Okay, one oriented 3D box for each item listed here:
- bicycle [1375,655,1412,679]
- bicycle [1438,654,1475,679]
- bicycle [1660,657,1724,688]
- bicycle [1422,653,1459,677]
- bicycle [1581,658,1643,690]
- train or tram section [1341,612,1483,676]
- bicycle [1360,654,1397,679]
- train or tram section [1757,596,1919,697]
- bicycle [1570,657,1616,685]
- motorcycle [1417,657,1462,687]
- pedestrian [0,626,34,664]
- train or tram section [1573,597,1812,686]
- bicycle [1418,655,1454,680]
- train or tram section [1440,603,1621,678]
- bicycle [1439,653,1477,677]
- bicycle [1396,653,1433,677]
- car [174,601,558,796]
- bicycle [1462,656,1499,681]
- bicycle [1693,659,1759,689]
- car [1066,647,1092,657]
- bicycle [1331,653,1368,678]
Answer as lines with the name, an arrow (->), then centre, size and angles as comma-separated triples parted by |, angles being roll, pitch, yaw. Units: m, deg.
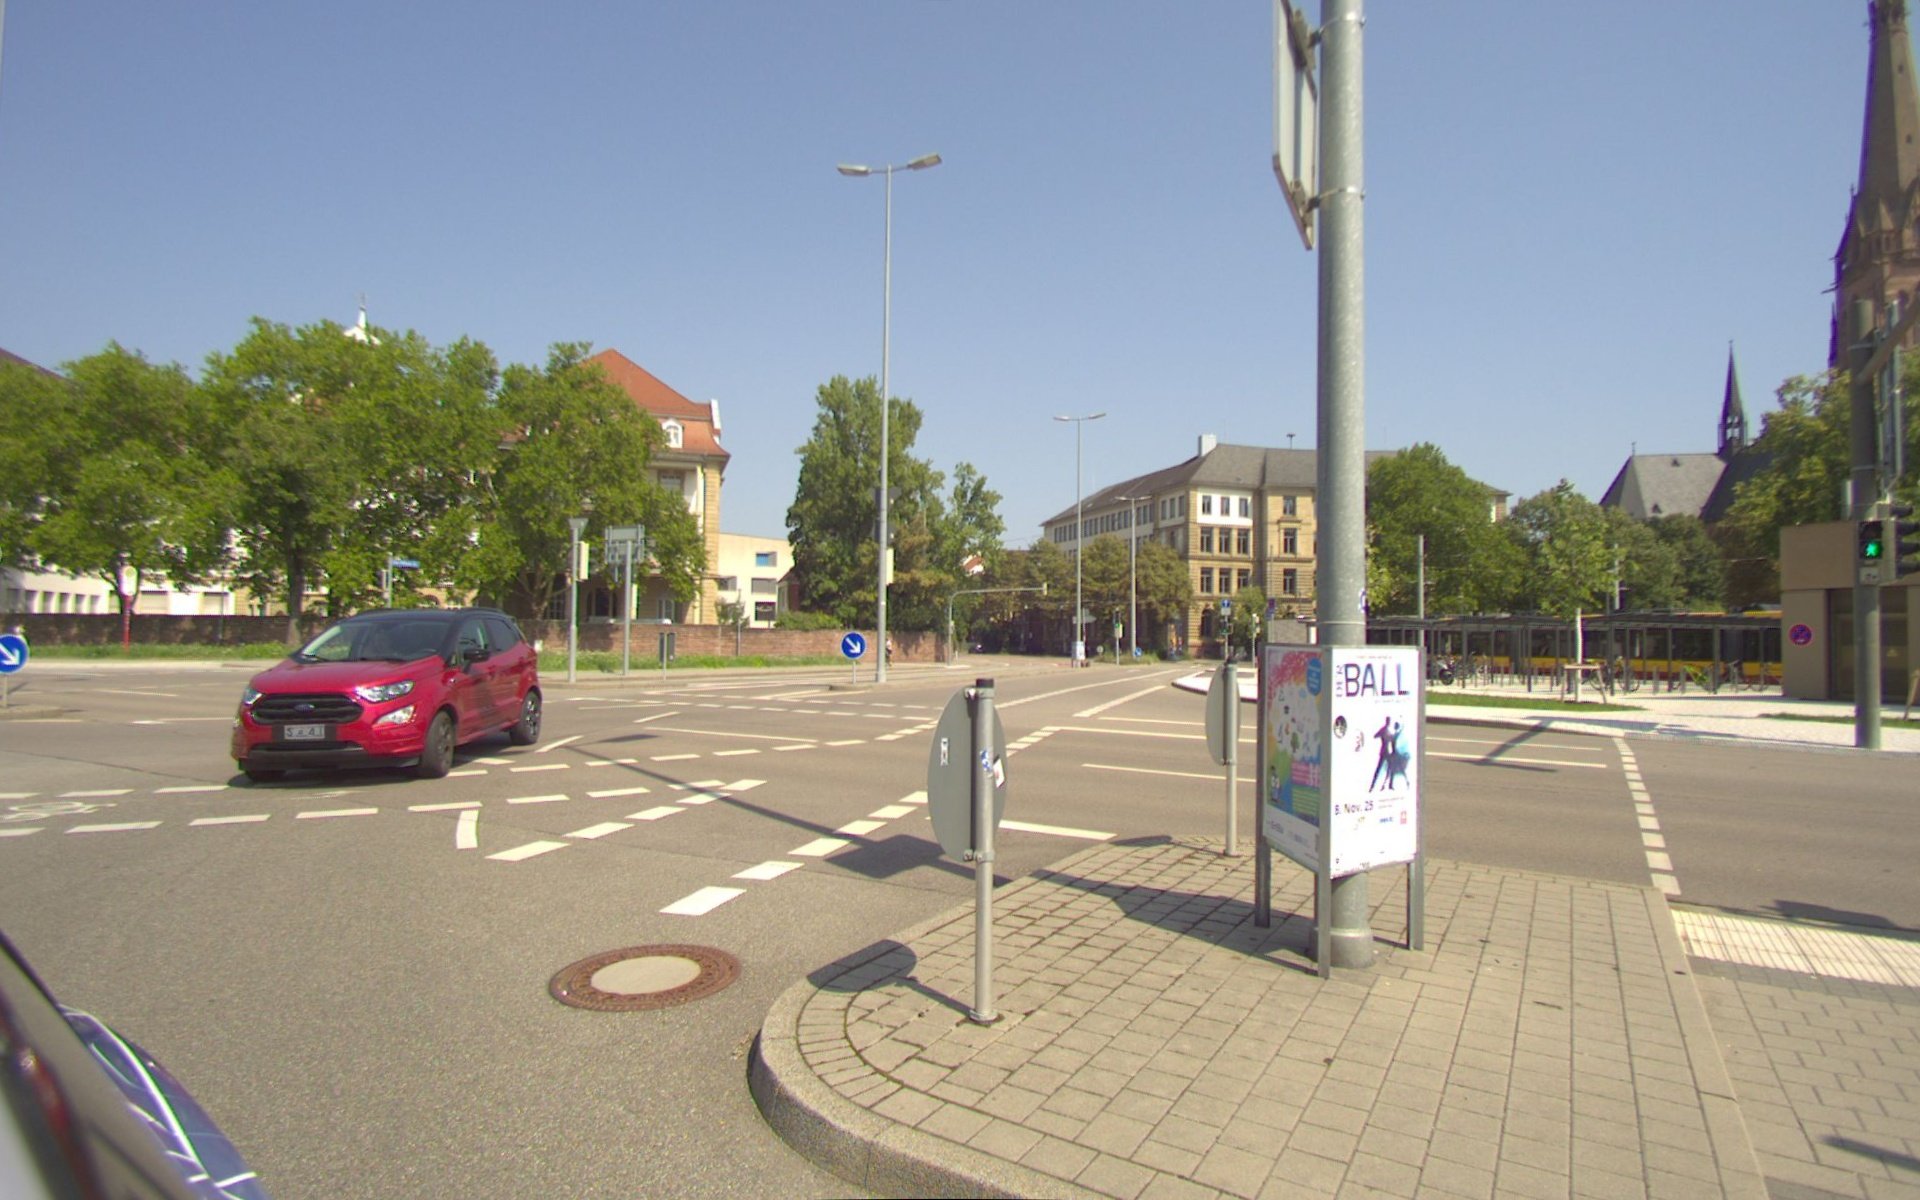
bicycle -> 19.454, 2.992, 45.437 | 0.518, 1.048, 1.775 | 2, -3, -16
bicycle -> 21.502, 2.891, 43.846 | 0.406, 1.048, 1.645 | 2, -3, -16
bicycle -> 25.511, 2.511, 35.316 | 0.504, 1.048, 1.740 | 3, -4, -31
bicycle -> 22.094, 2.977, 46.566 | 0.518, 1.048, 1.775 | 2, -3, -16
bicycle -> 22.236, 2.524, 34.554 | 0.504, 1.048, 1.740 | 2, -3, -25
train or tram section -> 27.612, 2.775, 62.374 | 3.084, 3.588, 8.353 | 3, -4, -19
bicycle -> 18.712, 2.962, 45.257 | 0.518, 1.048, 1.775 | 2, -3, -16
train or tram section -> 35.749, 1.814, 38.345 | 3.107, 3.625, 8.271 | 3, -4, -19
bicycle -> 24.602, 2.747, 39.381 | 0.406, 1.048, 1.645 | 2, -3, -16
motorcycle -> 18.413, 2.762, 38.906 | 0.483, 1.077, 1.784 | 2, -3, -16
pedestrian -> -50.761, 2.401, 54.196 | 1.216, 2.029, 1.073 | 1, -3, -3
train or tram section -> 33.059, 1.982, 46.292 | 3.107, 3.625, 8.552 | 3, -4, -19
bicycle -> 20.492, 2.887, 43.596 | 0.406, 1.048, 1.645 | 2, -3, -16
train or tram section -> 30.325, 2.261, 54.382 | 3.107, 3.625, 8.552 | 3, -4, -19
bicycle -> 23.142, 3.016, 47.024 | 0.518, 1.048, 1.775 | 2, -3, -16
bicycle -> 20.829, 2.964, 46.436 | 0.518, 1.048, 1.775 | 2, -3, -16
car -> -5.830, 0.855, 10.593 | 1.818, 1.627, 4.003 | 1, 0, -3
bicycle -> 22.801, 2.984, 44.351 | 0.406, 1.048, 1.645 | 2, -3, -16
bicycle -> 27.058, 2.602, 35.792 | 0.504, 0.993, 1.863 | 2, -3, -20
car -> 15.089, 6.582, 128.128 | 3.005, 1.185, 1.256 | 2, -3, -23
bicycle -> 17.369, 2.910, 45.194 | 0.518, 1.090, 1.870 | 2, -3, -16
